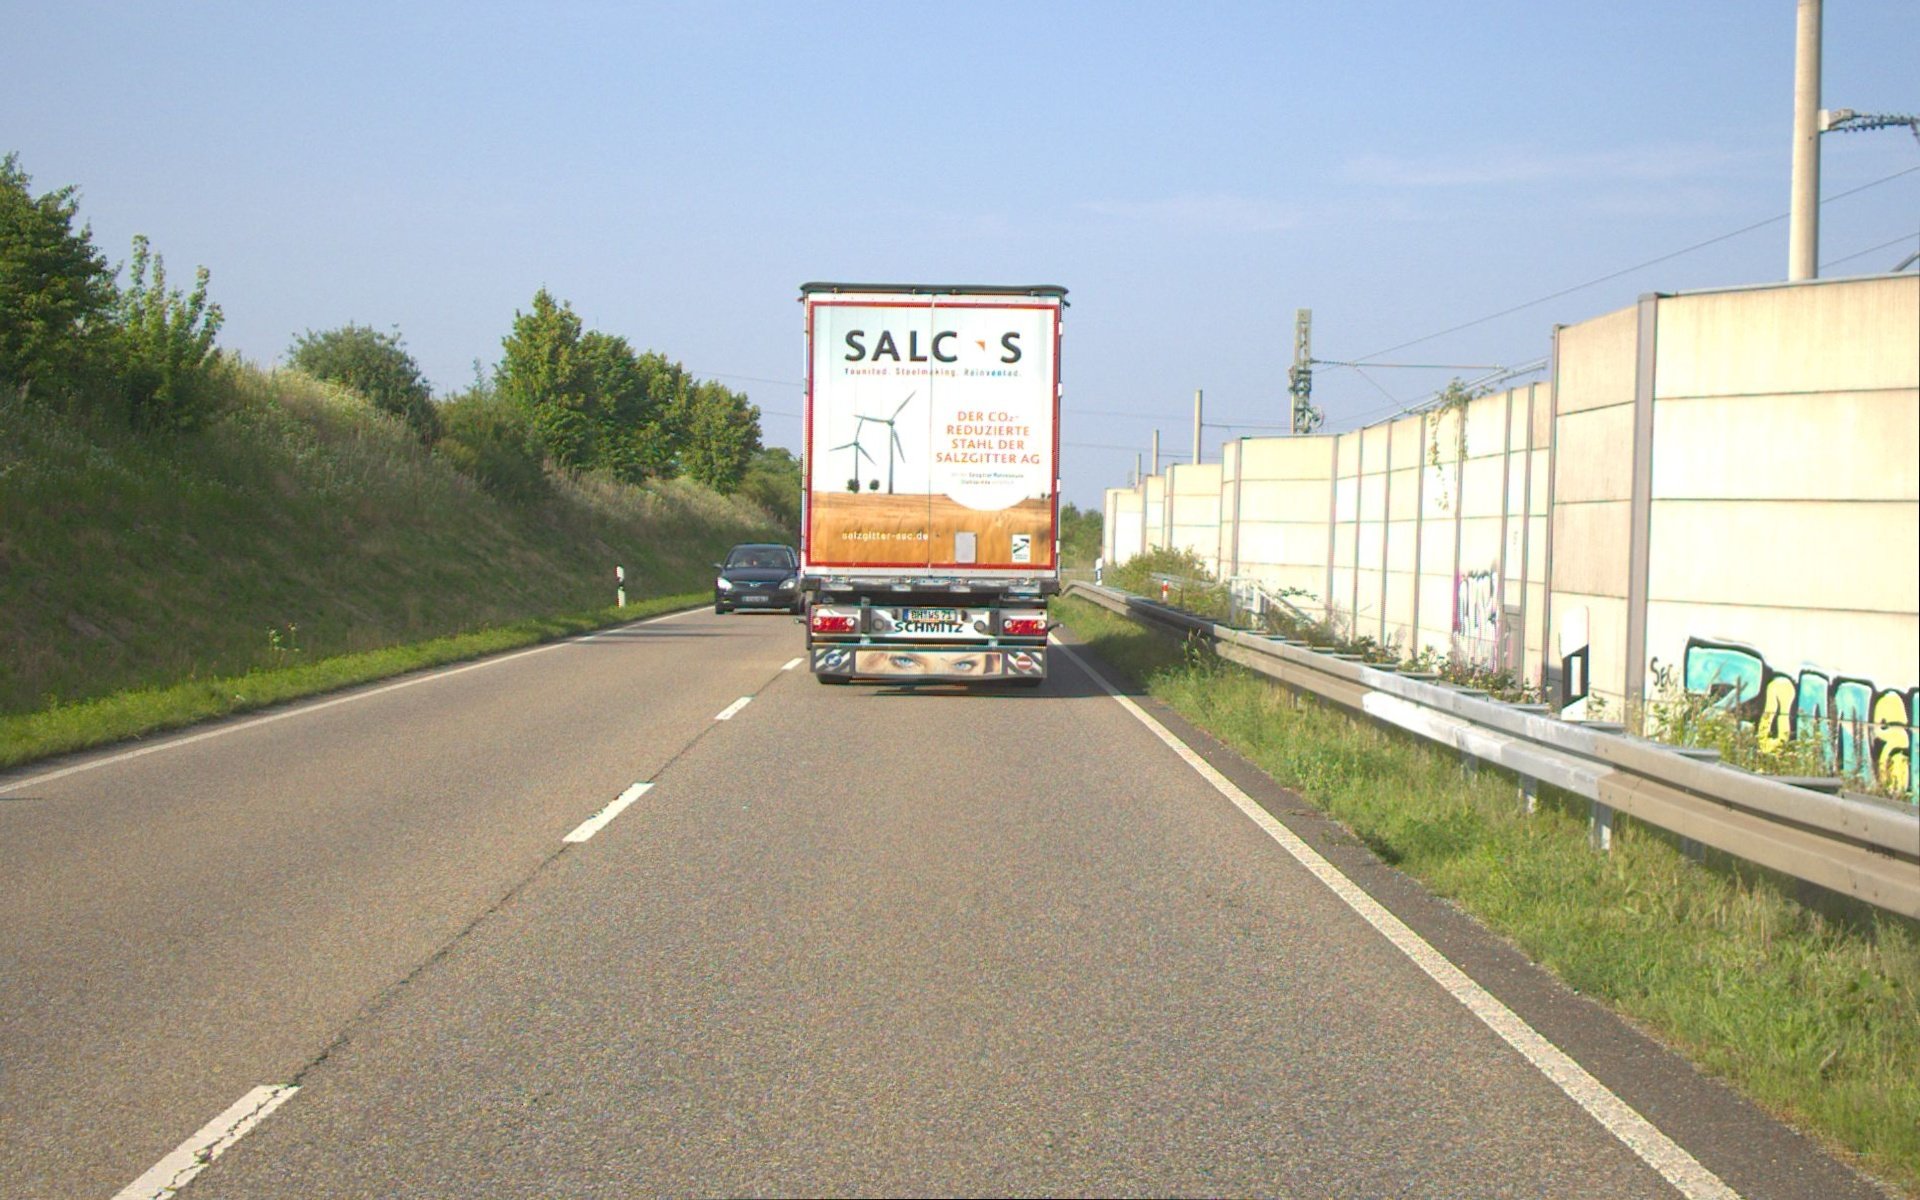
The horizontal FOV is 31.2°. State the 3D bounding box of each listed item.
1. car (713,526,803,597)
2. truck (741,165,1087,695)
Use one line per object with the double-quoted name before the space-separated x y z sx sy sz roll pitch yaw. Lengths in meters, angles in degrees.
"car" -4.237 -0.841 72.546 1.716 1.448 4.019 0 1 -1
"truck" -0.434 -1.758 39.167 3.290 5.072 12.038 1 1 0
